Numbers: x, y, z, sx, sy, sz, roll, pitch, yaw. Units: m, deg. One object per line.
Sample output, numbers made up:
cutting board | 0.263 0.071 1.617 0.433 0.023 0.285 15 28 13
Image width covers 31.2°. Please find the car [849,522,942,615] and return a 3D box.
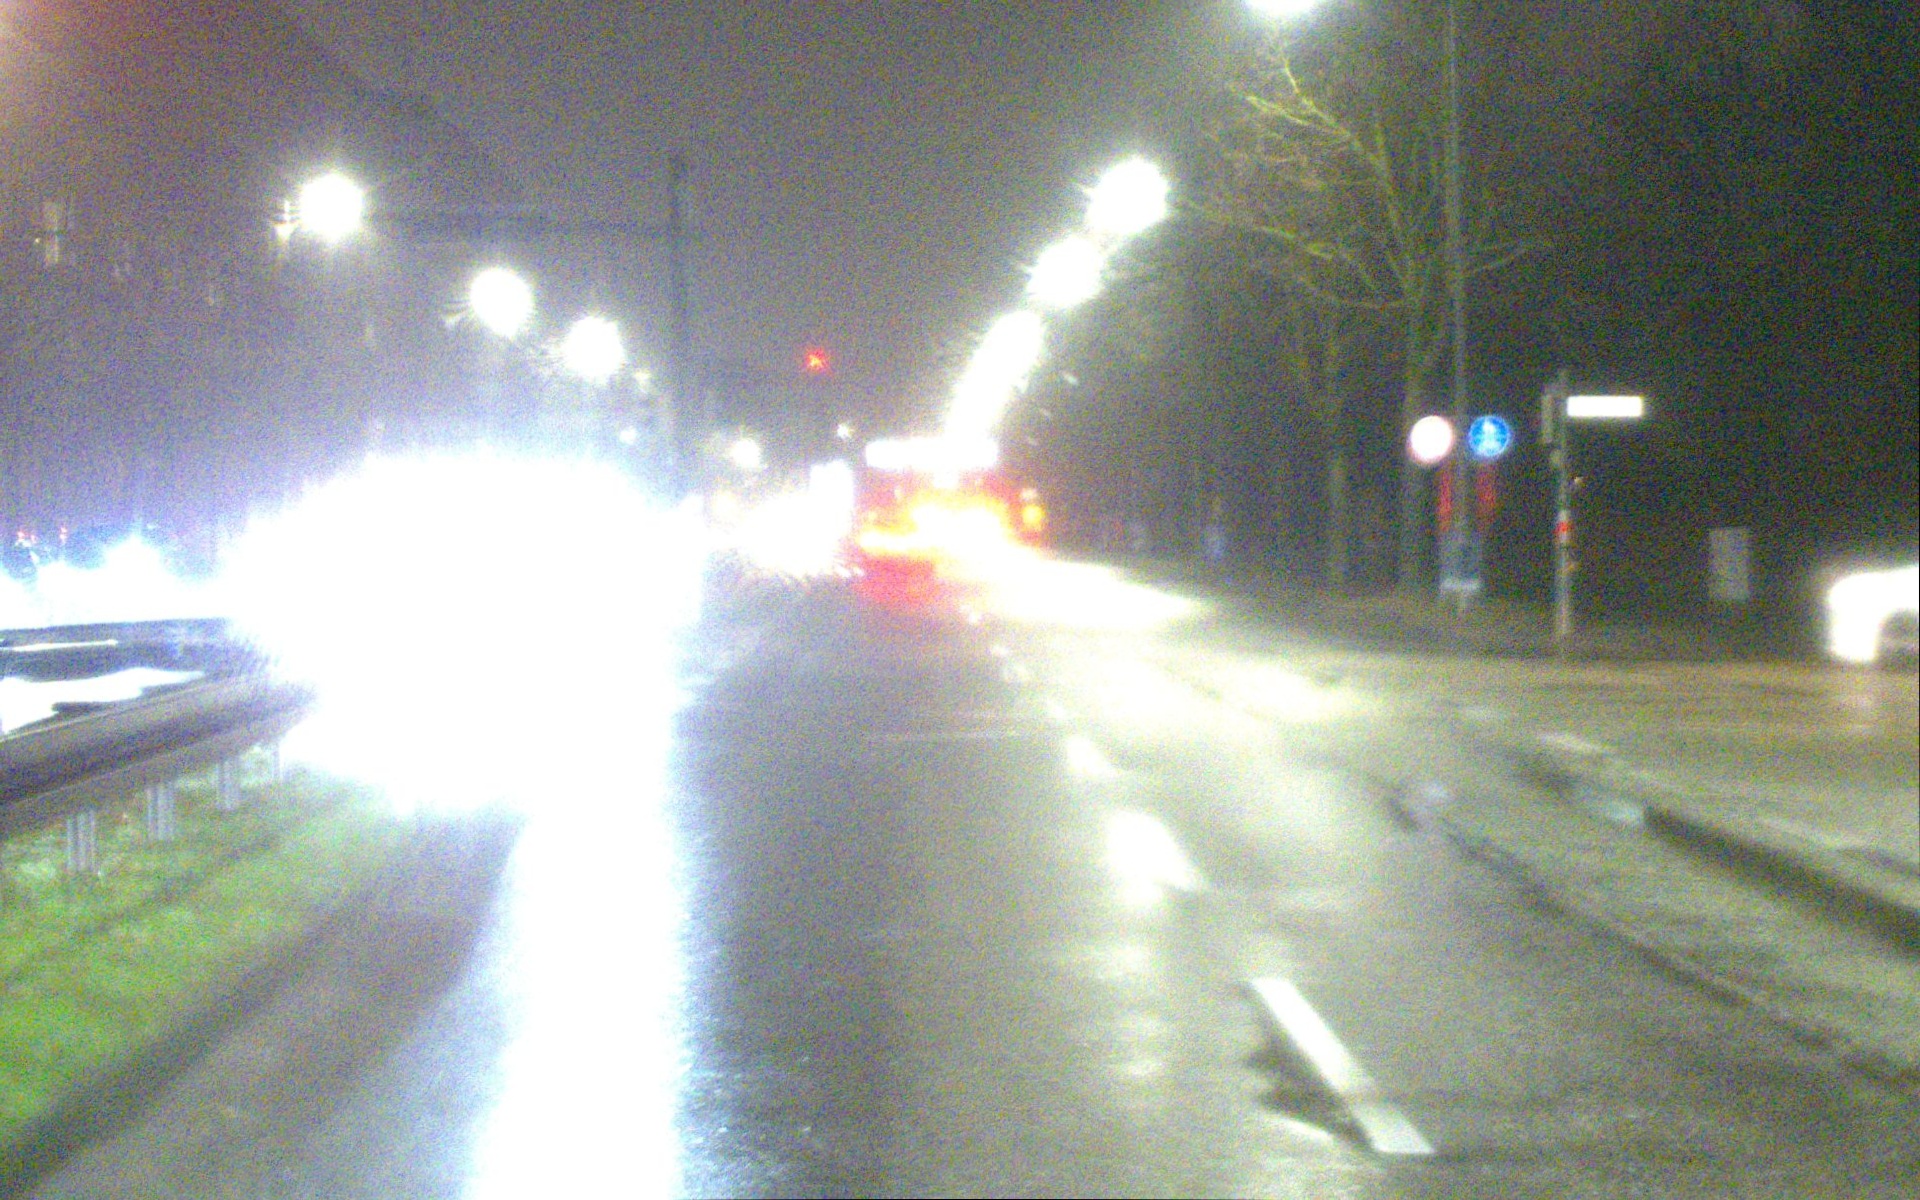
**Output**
car | -1.562 -0.760 82.244 2.135 2.137 4.929 1 1 -2

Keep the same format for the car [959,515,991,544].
car | 0.947 -4.507 219.883 1.993 1.753 4.000 1 1 -1

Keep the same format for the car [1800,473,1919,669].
car | 10.601 -0.258 33.229 4.617 1.868 1.795 1 0 21
